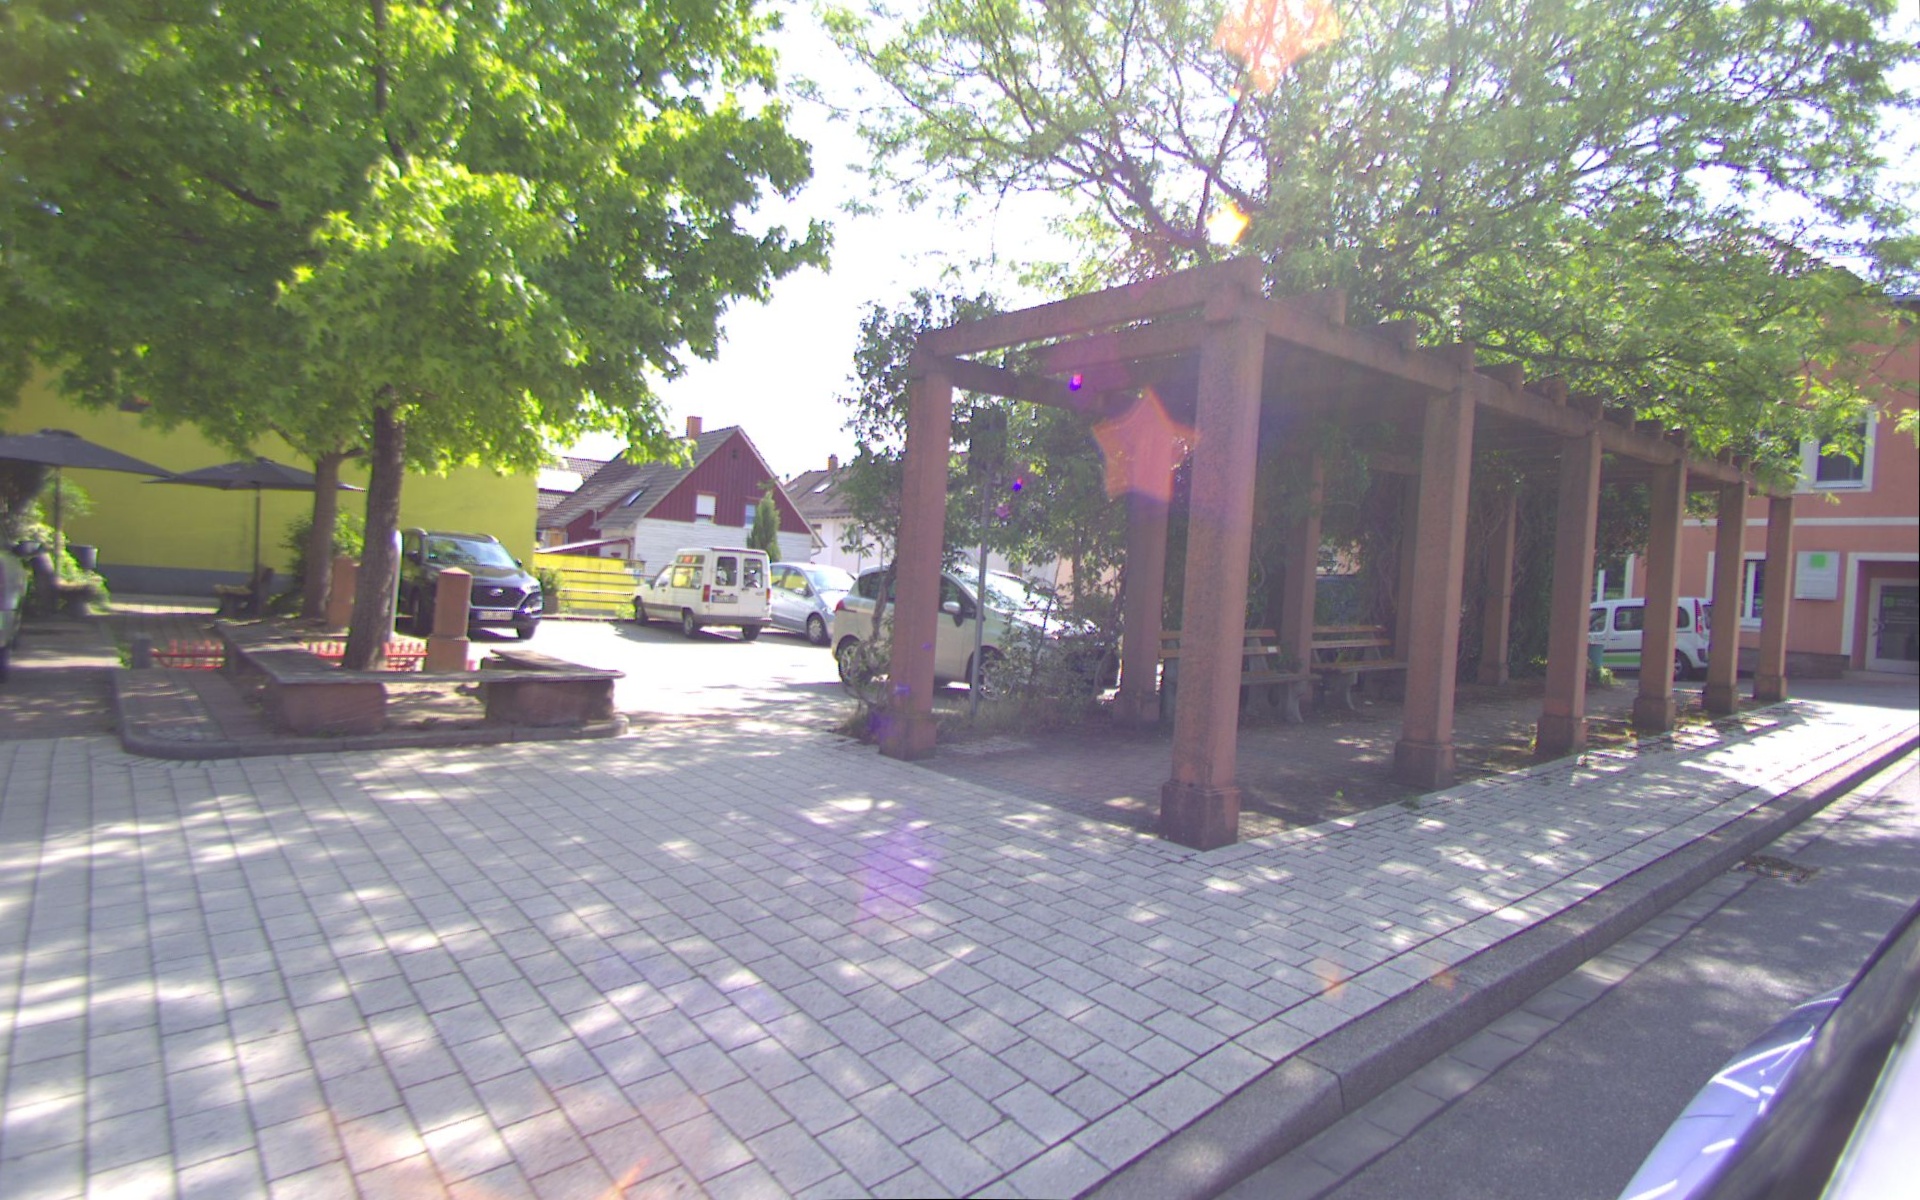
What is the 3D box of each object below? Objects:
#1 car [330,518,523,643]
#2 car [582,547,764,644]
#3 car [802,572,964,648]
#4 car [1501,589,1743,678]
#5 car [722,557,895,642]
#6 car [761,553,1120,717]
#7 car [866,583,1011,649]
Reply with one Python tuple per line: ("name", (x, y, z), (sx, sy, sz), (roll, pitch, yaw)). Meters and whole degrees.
("car", (-8.848, -0.369, 16.621), (1.878, 1.728, 3.996), (5, 0, -41))
("car", (-5.898, -0.159, 20.505), (1.852, 1.762, 4.181), (1, 2, -42))
("car", (-1.831, 0.175, 23.073), (1.626, 1.509, 3.877), (1, 2, -42))
("car", (14.592, 0.746, 22.520), (1.778, 1.777, 4.098), (1, -3, -36))
("car", (-3.332, -0.071, 21.763), (1.726, 1.631, 3.978), (1, 2, -42))
("car", (-0.429, 0.271, 11.976), (1.696, 1.564, 4.487), (1, 1, -42))
("car", (-0.609, 0.352, 25.821), (1.495, 1.449, 3.877), (1, 2, -42))
